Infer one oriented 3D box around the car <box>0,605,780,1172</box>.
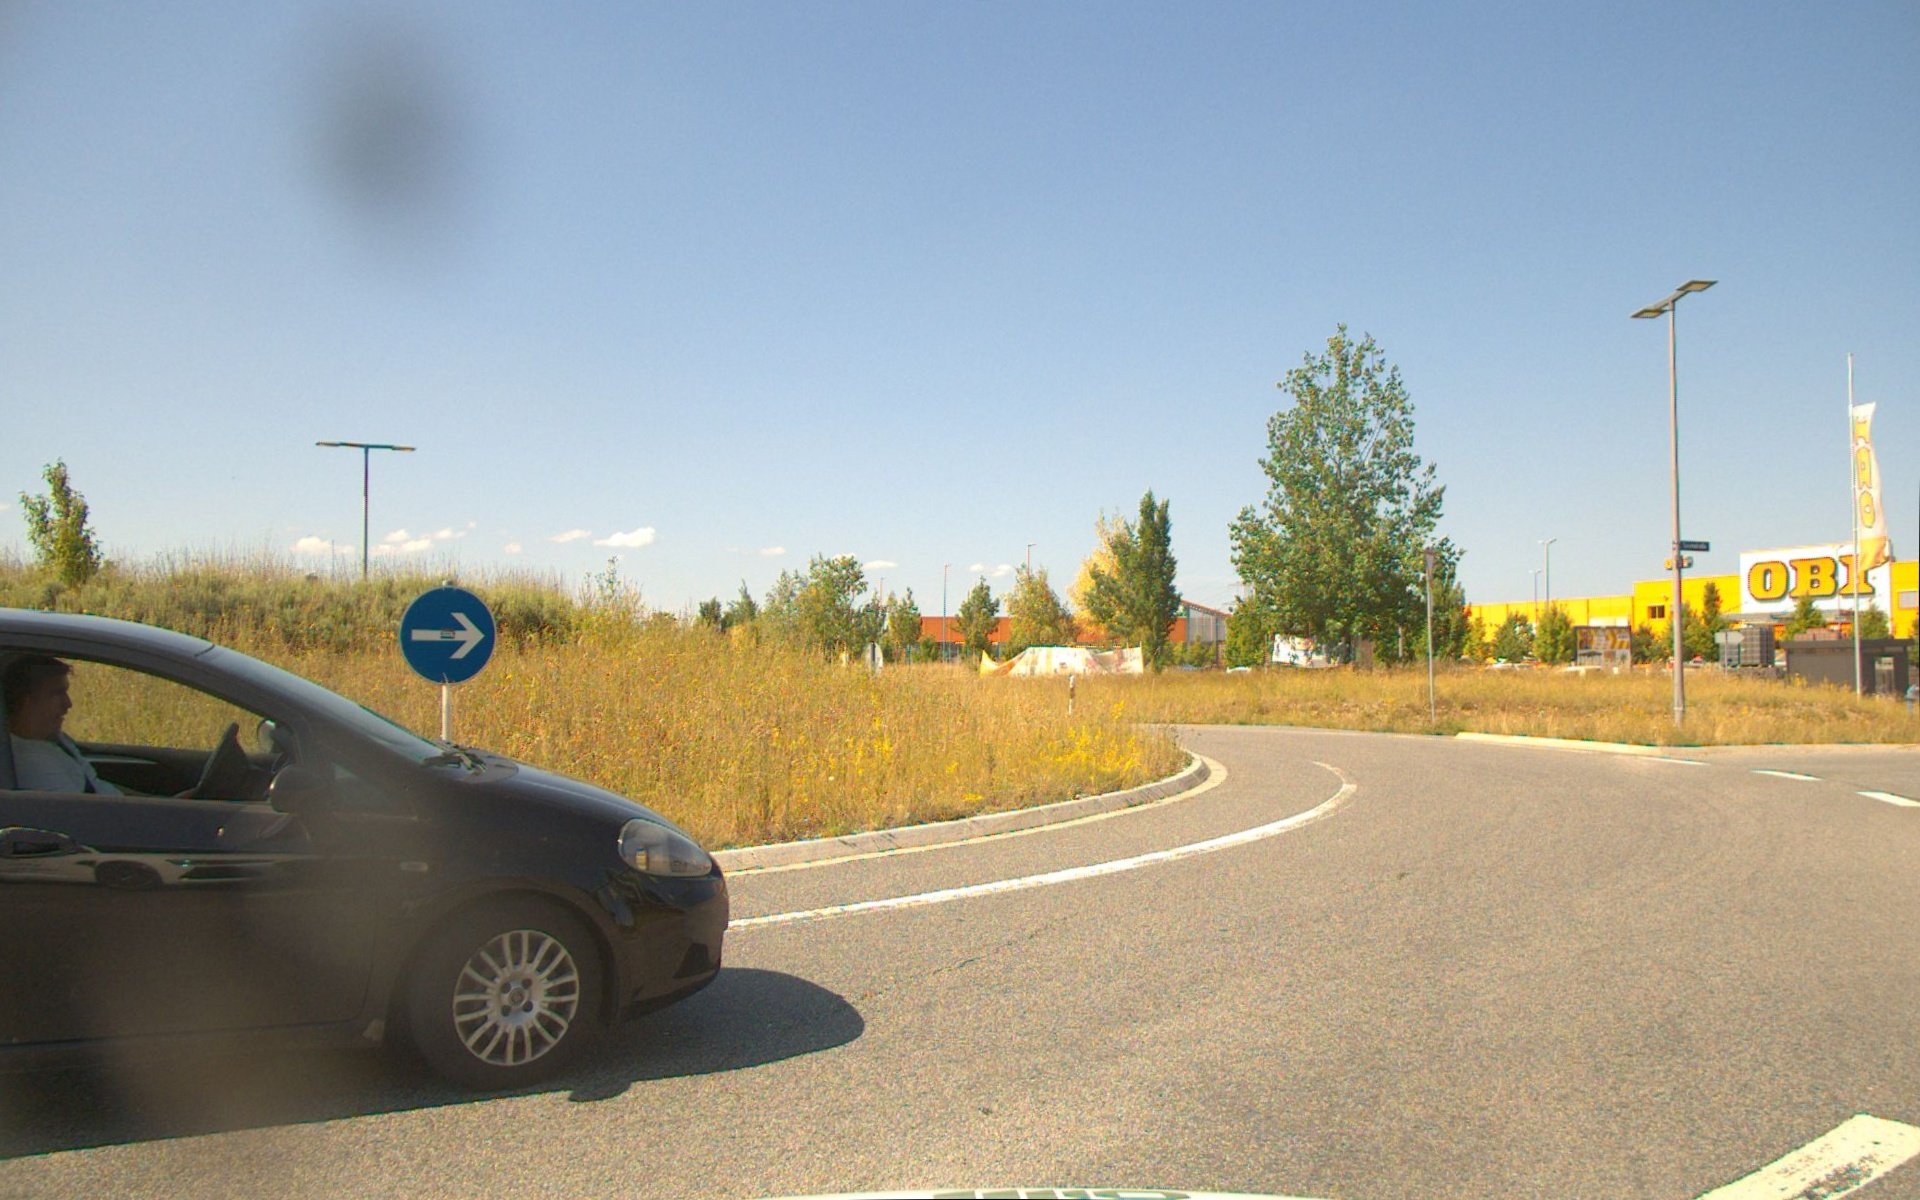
[{"bbox_3d":[-2.656,0.780,5.292,3.844,1.514,1.631,0,-1,-26],"label":"car"}]
